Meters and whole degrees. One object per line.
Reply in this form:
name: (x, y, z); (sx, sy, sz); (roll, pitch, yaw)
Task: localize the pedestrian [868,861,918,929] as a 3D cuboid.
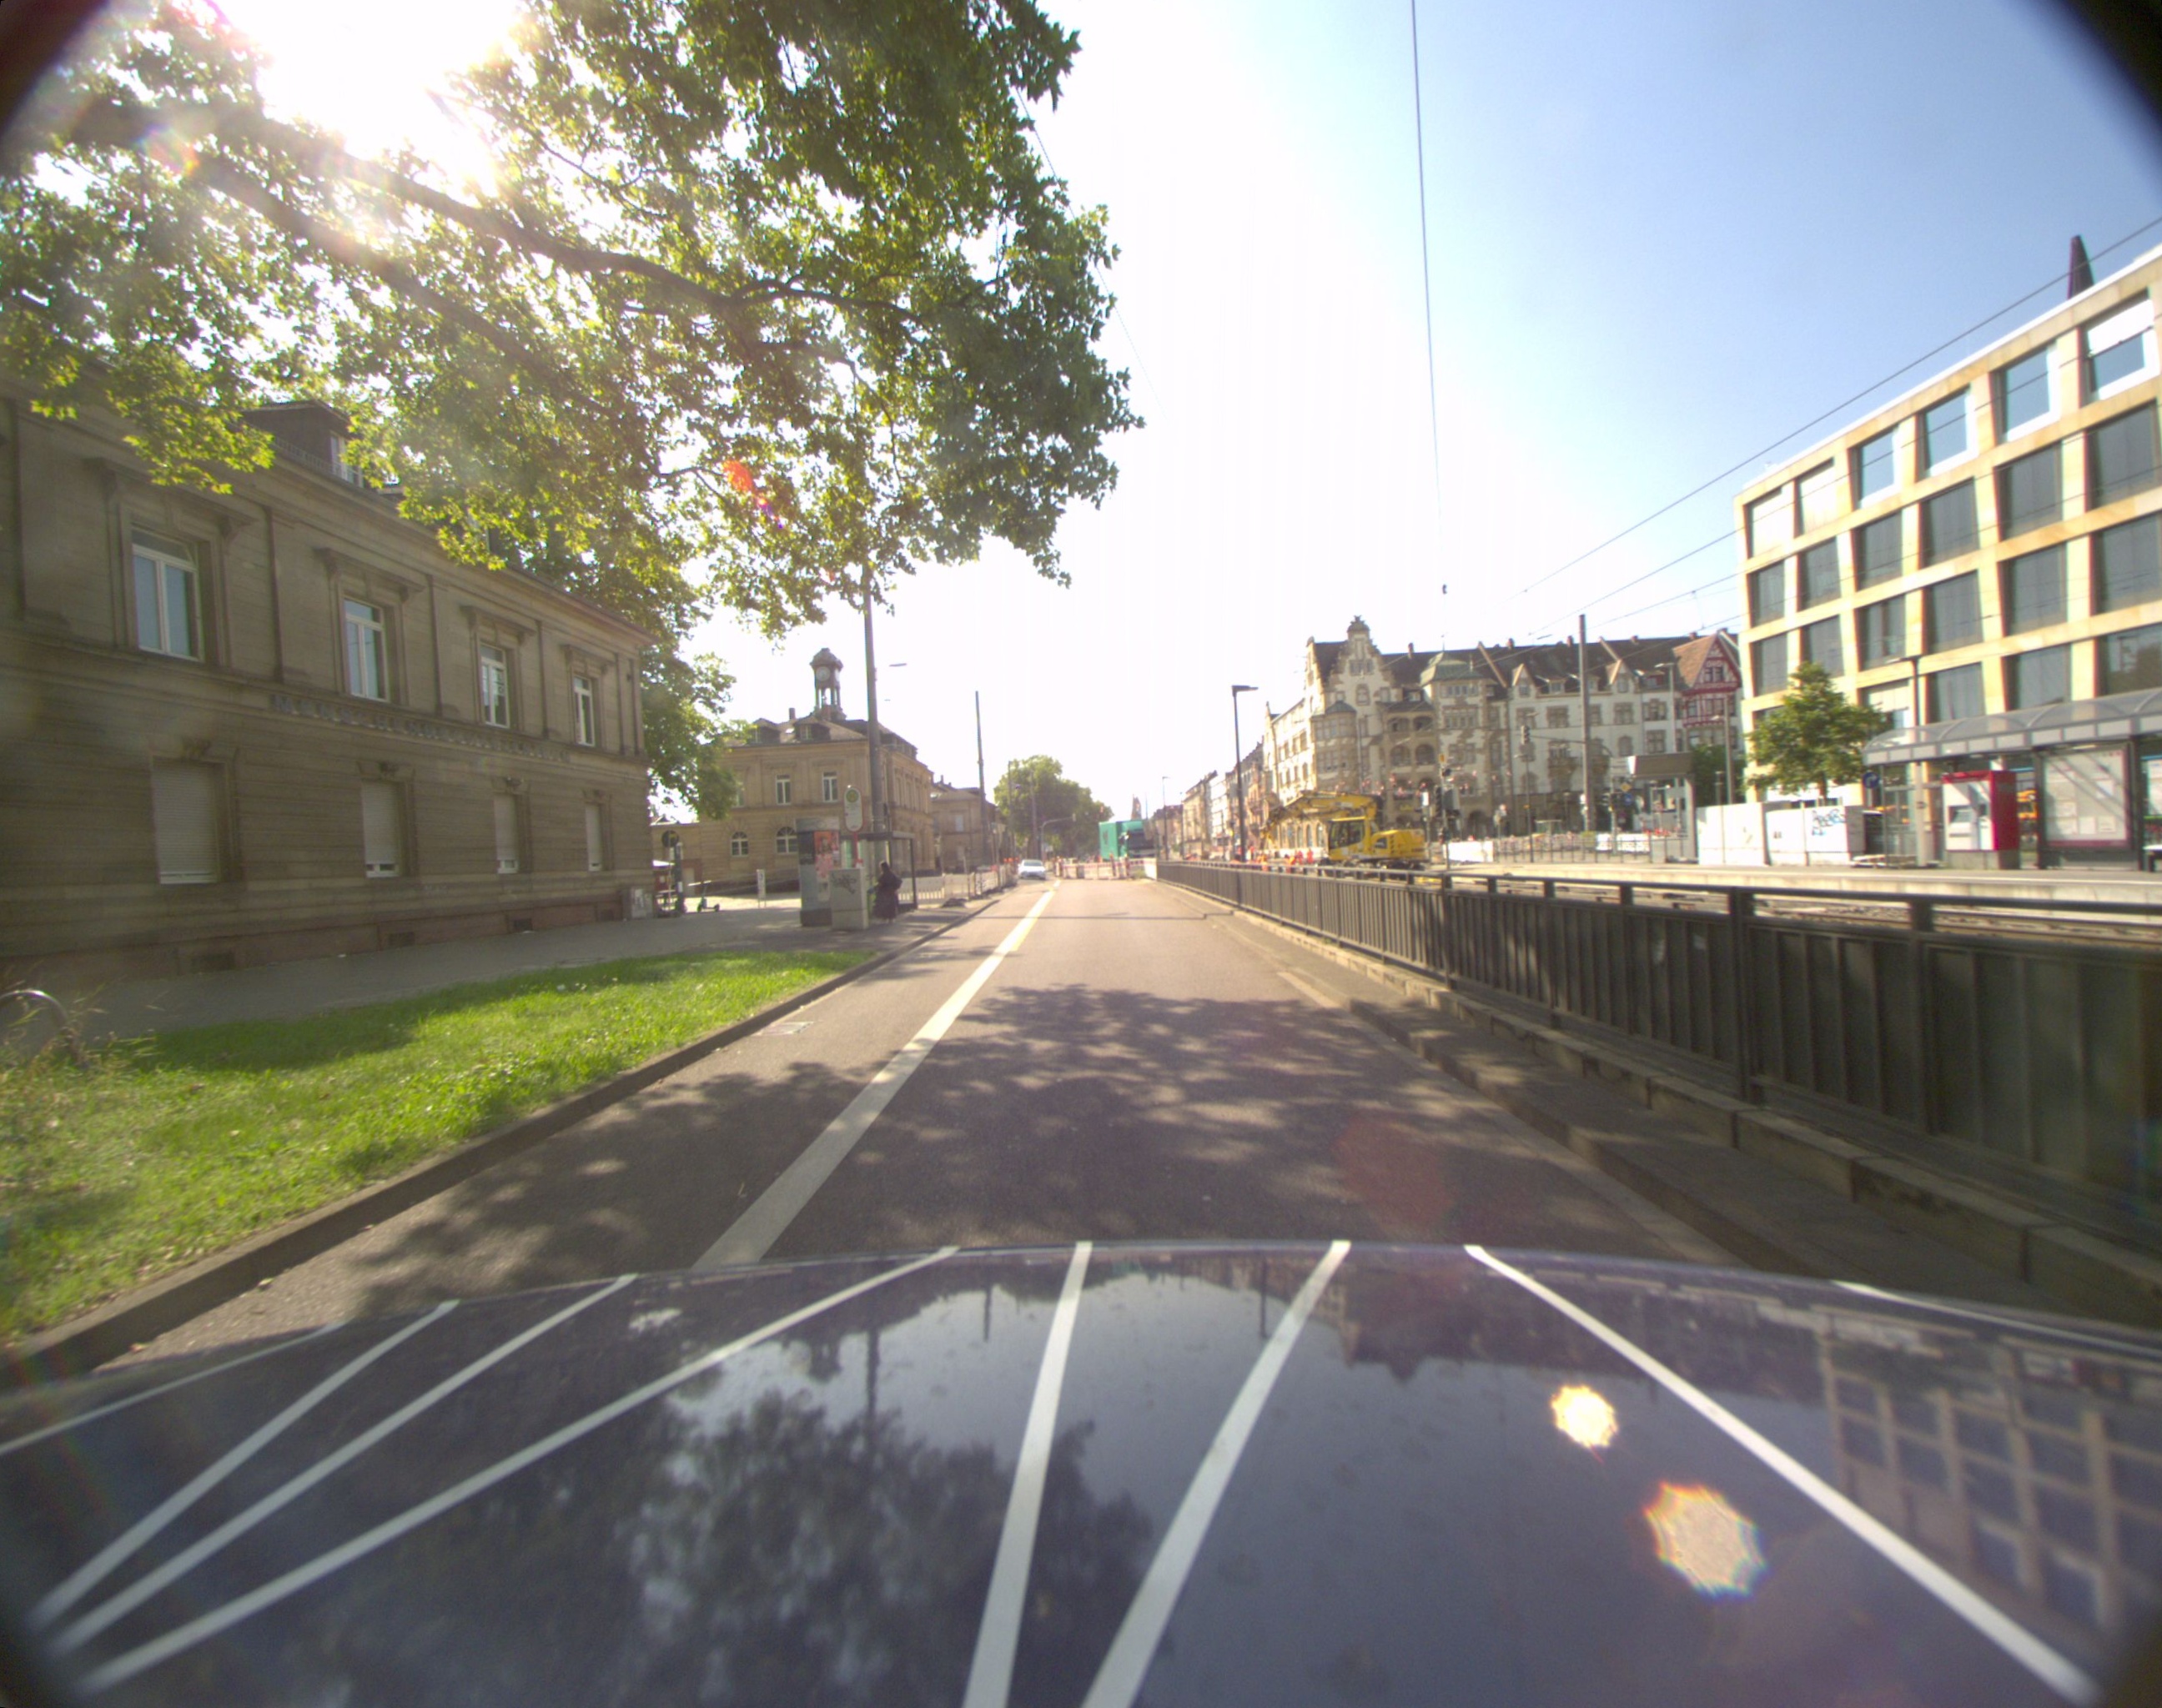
pedestrian: (-4.740, 1.009, 19.129); (0.886, 1.616, 0.821); (-3, 1, -36)

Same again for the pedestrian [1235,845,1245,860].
pedestrian: (13.472, -0.103, 64.573); (0.678, 1.239, 0.547); (-3, 1, 0)

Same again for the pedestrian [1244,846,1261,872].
pedestrian: (9.275, 0.258, 41.059); (0.701, 1.327, 0.838); (-3, 0, 22)

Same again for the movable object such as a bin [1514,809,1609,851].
movable object such as a bin: (36.442, -1.825, 57.693); (5.515, 2.774, 2.490); (-4, 2, 2)

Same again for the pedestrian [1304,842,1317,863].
pedestrian: (18.303, -0.117, 60.593); (0.741, 1.692, 0.758); (-3, 1, 0)

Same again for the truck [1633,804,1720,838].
truck: (56.051, -3.119, 71.620); (6.037, 2.798, 2.691); (-3, 0, -1)

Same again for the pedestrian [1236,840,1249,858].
pedestrian: (14.343, -0.439, 67.370); (0.754, 1.547, 0.735); (-3, 1, -41)

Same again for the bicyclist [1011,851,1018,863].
bicyclist: (-8.582, 0.384, 98.602); (0.736, 1.616, 0.853); (-3, 1, 2)

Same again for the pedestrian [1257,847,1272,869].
pedestrian: (10.146, 0.202, 42.010); (0.701, 1.171, 0.703); (-3, 0, 22)

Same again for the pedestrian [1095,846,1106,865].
pedestrian: (1.999, 0.151, 78.679); (0.921, 1.830, 0.801); (-3, 1, -5)

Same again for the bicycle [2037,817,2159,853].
bicycle: (30.560, -0.561, 22.858); (2.436, 0.962, 0.945); (-3, 0, -1)

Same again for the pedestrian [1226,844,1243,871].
pedestrian: (8.647, 0.190, 42.681); (0.741, 1.470, 0.704); (-3, 0, 23)

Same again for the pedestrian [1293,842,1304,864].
pedestrian: (17.384, -0.077, 60.727); (0.740, 1.692, 0.759); (-3, 1, 20)

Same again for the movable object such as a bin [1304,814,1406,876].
movable object such as a bin: (15.635, -0.494, 43.609); (4.127, 3.204, 3.564); (-3, 0, -14)

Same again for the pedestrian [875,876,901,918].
pedestrian: (-5.718, 1.276, 22.564); (0.610, 1.211, 0.574); (-1, 1, -1)

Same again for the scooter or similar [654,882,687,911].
scooter or similar: (-16.866, 1.763, 31.223); (1.094, 1.126, 0.312); (-3, 1, -2)

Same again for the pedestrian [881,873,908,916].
pedestrian: (-5.730, 1.242, 23.399); (0.610, 1.270, 0.759); (-1, 1, -1)

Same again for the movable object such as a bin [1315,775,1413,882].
movable object such as a bin: (13.010, -1.101, 35.285); (2.994, 4.527, 4.213); (-3, 0, 3)

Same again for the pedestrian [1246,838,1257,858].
pedestrian: (14.931, -0.513, 66.529); (0.752, 1.692, 0.678); (-3, 1, 1)

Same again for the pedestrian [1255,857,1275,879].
pedestrian: (8.497, 0.635, 35.120); (0.702, 0.949, 0.882); (-3, 0, 2)

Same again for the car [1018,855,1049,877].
car: (-3.476, 0.881, 56.544); (1.844, 1.451, 4.000); (-3, 0, 2)

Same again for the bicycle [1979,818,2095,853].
bicycle: (30.532, -0.574, 24.296); (2.436, 0.962, 1.020); (-3, 0, -1)

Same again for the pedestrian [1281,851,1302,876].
pedestrian: (9.974, 0.439, 36.033); (0.701, 1.148, 0.589); (-3, 1, 41)

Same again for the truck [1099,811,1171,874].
truck: (3.398, -0.659, 50.765); (2.817, 3.766, 9.009); (-2, 0, -8)

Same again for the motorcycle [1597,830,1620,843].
motorcycle: (35.008, -1.151, 50.419); (1.636, 0.873, 0.430); (-1, 2, -23)

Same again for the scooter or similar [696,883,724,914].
scooter or similar: (-15.411, 1.840, 31.600); (0.409, 1.159, 1.226); (-3, 0, 6)
